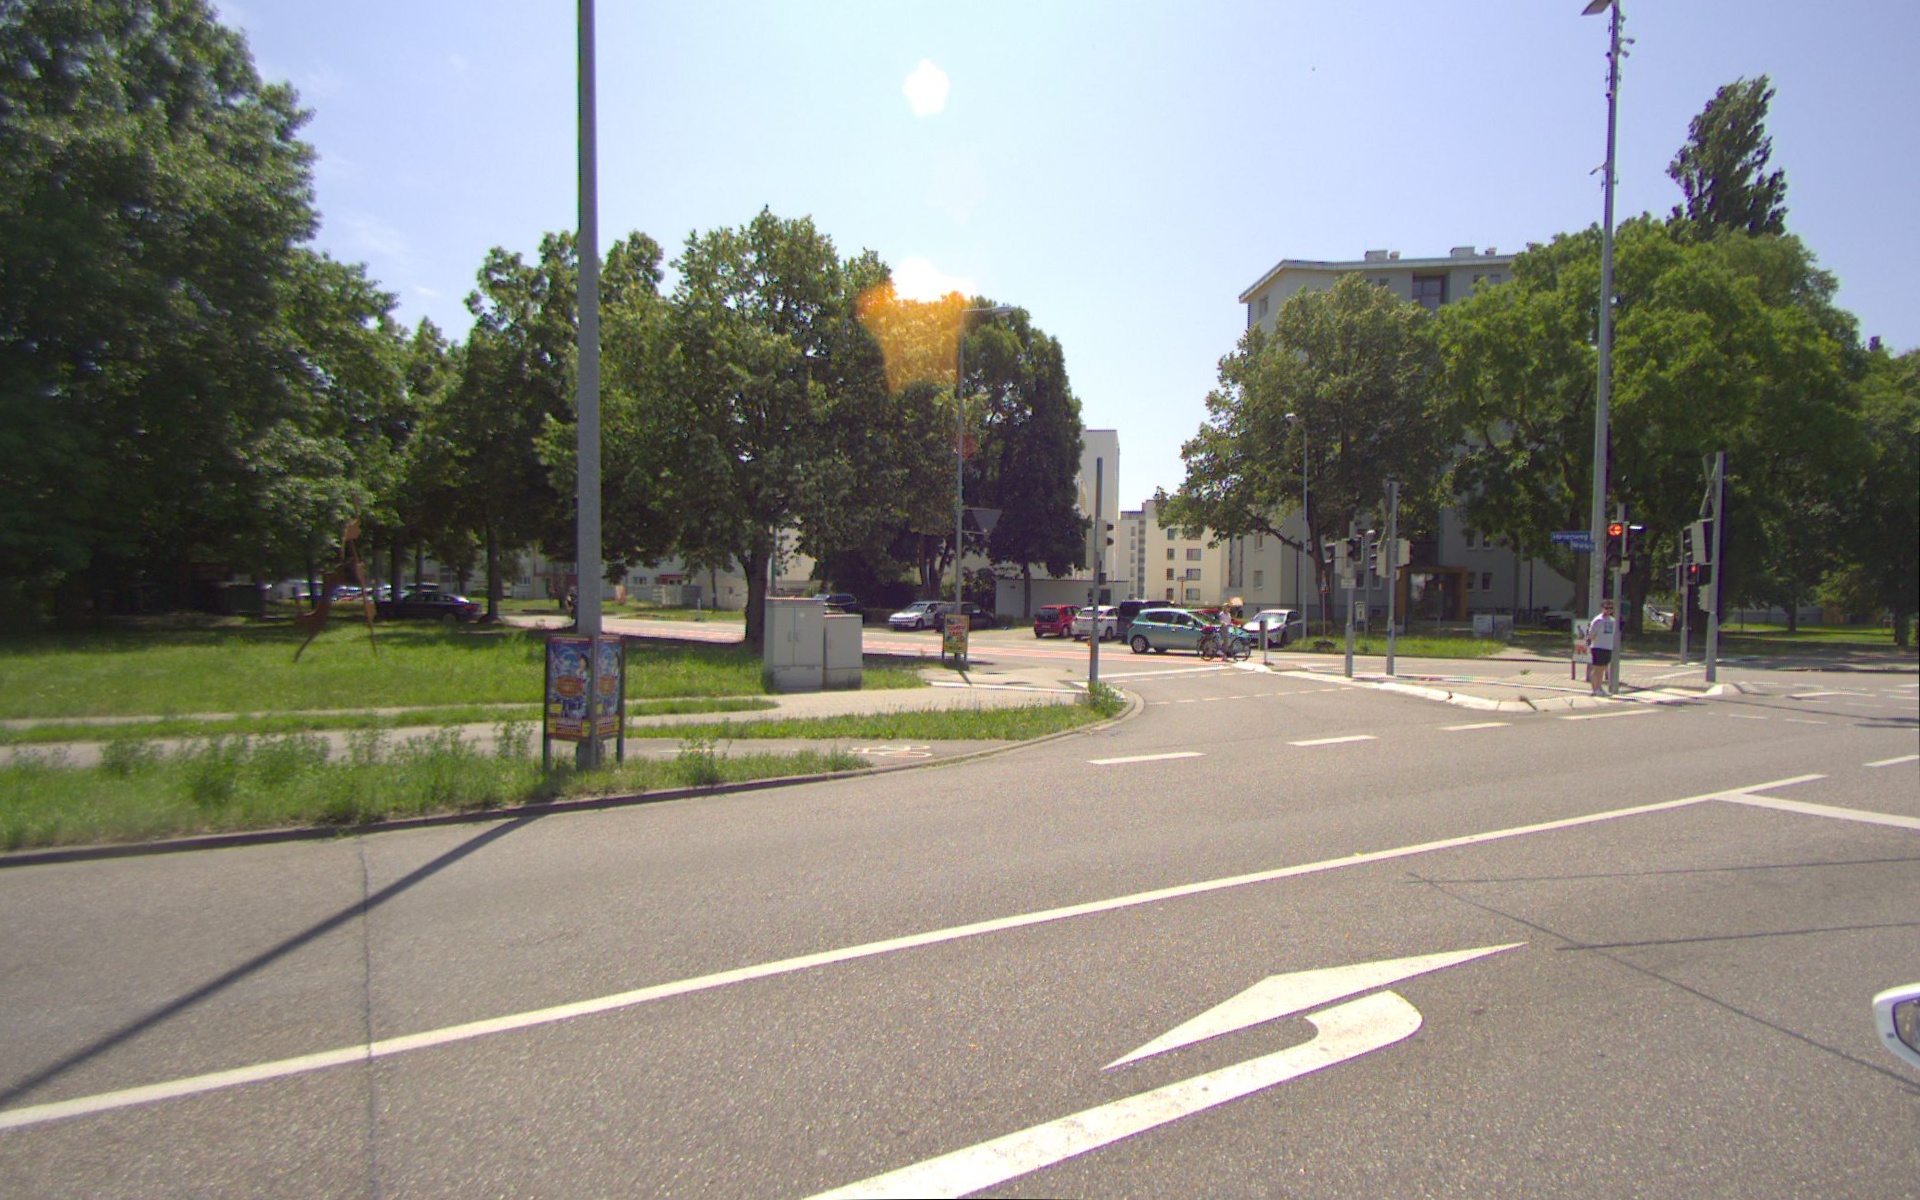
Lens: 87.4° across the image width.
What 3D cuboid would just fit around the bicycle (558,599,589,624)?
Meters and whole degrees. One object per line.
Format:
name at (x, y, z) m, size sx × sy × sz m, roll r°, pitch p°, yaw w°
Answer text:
bicycle at (-20.753, 0.618, 53.931) m, size 2.032 × 1.317 × 0.769 m, roll 1°, pitch 1°, yaw 44°

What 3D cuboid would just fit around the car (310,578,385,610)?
car at (-42.354, -0.386, 69.494) m, size 1.970 × 2.041 × 3.980 m, roll 5°, pitch 4°, yaw 40°

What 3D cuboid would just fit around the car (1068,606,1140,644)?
car at (6.670, 1.102, 46.183) m, size 1.681 × 1.613 × 3.988 m, roll 2°, pitch 1°, yaw 34°

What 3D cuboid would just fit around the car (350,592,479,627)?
car at (-23.537, 0.396, 43.512) m, size 4.503 × 1.487 × 1.995 m, roll 0°, pitch 0°, yaw -12°

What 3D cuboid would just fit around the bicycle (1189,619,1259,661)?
bicycle at (7.602, 1.135, 28.950) m, size 1.841 × 1.108 × 0.643 m, roll 1°, pitch 0°, yaw 39°

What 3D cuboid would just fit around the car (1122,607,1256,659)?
car at (7.350, 1.012, 32.326) m, size 3.835 × 1.488 × 1.769 m, roll 1°, pitch 0°, yaw 37°

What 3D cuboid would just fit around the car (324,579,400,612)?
car at (-40.276, -0.280, 67.749) m, size 1.970 × 2.041 × 3.980 m, roll 5°, pitch 4°, yaw 40°

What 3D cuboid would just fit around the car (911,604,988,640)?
car at (-0.497, 1.098, 51.213) m, size 1.823 × 1.734 × 3.983 m, roll 0°, pitch -1°, yaw 38°

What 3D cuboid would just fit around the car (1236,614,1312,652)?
car at (12.915, 1.307, 41.248) m, size 1.604 × 1.399 × 3.982 m, roll 2°, pitch 1°, yaw 39°

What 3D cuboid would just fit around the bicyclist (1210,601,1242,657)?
bicyclist at (7.657, 0.822, 28.909) m, size 0.656 × 1.557 × 0.628 m, roll 1°, pitch 1°, yaw 38°

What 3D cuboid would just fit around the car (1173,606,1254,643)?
car at (11.017, 1.024, 43.566) m, size 1.601 × 1.483 × 3.975 m, roll 3°, pitch 2°, yaw 44°

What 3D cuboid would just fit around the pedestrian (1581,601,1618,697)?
pedestrian at (11.622, 0.877, 18.258) m, size 0.480 × 1.710 × 0.380 m, roll 0°, pitch 1°, yaw -33°

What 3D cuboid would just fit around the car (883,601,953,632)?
car at (-2.198, 0.849, 53.468) m, size 1.667 × 1.583 × 3.821 m, roll 1°, pitch 0°, yaw 38°

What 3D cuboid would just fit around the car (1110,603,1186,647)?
car at (8.444, 1.059, 44.868) m, size 1.683 × 1.825 × 3.983 m, roll 2°, pitch 1°, yaw 38°

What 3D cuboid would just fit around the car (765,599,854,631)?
car at (-7.842, 0.759, 52.066) m, size 4.555 × 1.519 × 1.906 m, roll 1°, pitch 0°, yaw 36°

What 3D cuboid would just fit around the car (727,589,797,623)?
car at (-12.206, 0.372, 62.121) m, size 1.823 × 1.974 × 3.983 m, roll 2°, pitch 1°, yaw 38°

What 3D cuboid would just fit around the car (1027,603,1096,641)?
car at (4.911, 1.028, 48.275) m, size 1.819 × 1.690 × 3.992 m, roll 1°, pitch 0°, yaw 30°

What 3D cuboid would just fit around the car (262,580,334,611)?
car at (-48.516, -0.334, 73.644) m, size 1.970 × 2.041 × 3.980 m, roll 5°, pitch 4°, yaw 40°

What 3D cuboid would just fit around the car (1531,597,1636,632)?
car at (33.843, 0.789, 54.628) m, size 4.456 × 1.791 × 1.793 m, roll 1°, pitch 0°, yaw 11°

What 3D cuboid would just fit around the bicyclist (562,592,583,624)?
bicyclist at (-20.826, 0.428, 53.995) m, size 0.885 × 1.715 × 0.769 m, roll 1°, pitch 1°, yaw 42°
